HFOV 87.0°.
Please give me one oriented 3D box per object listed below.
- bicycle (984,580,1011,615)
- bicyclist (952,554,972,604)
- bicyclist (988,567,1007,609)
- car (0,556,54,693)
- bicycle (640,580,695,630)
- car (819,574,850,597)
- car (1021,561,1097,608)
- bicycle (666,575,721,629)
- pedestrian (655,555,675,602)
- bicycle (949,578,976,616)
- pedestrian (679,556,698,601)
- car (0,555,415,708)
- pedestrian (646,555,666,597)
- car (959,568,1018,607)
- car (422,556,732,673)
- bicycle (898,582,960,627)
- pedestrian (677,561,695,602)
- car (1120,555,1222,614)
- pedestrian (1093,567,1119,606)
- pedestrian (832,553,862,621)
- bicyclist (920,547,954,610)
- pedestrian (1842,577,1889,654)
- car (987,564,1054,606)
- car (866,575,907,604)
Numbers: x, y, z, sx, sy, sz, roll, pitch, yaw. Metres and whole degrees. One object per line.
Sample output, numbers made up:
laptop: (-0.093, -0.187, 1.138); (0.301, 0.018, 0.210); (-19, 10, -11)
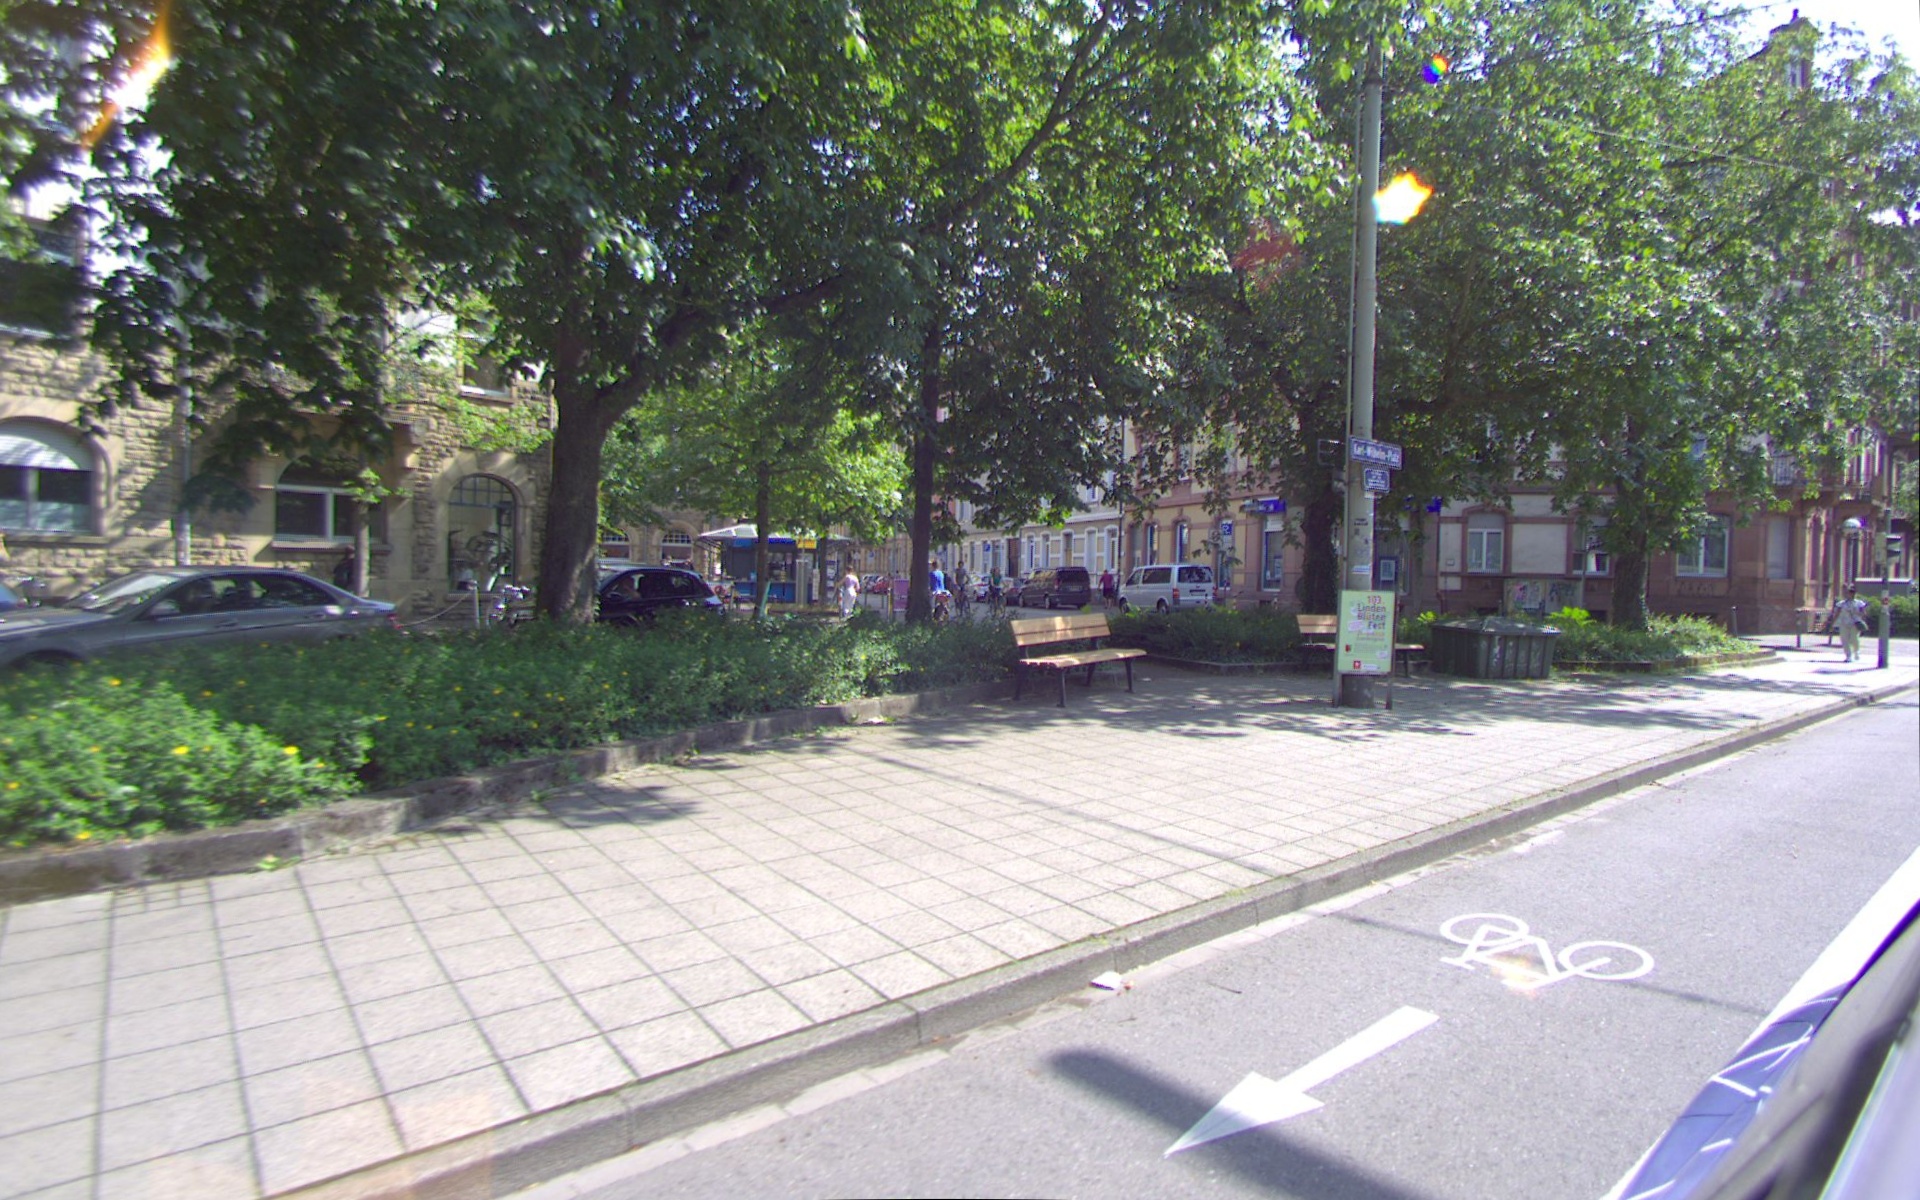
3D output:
bicycle: (1.250, -0.076, 33.707); (0.512, 1.129, 1.668); (-1, 0, -12)
bicyclist: (0.066, -0.684, 33.547); (0.496, 1.619, 0.702); (3, -1, -10)
bicyclist: (1.243, -0.403, 33.751); (0.460, 1.389, 0.744); (-1, 0, -10)
car: (-12.413, 0.287, 10.664); (1.712, 1.558, 3.951); (2, 2, 27)
bicycle: (-6.722, 0.092, 23.179); (0.587, 1.044, 1.978); (1, 2, -35)
car: (-11.961, -1.414, 96.243); (1.958, 2.038, 4.327); (1, 2, -19)
car: (4.519, -0.752, 46.730); (1.958, 2.038, 4.327); (1, 2, -17)
bicycle: (-6.215, 0.027, 23.527); (0.587, 1.157, 1.978); (1, 2, -35)
pedestrian: (-11.233, -0.818, 38.495); (0.668, 1.761, 0.848); (1, 1, -18)
bicycle: (0.083, -0.103, 33.569); (0.512, 1.209, 1.856); (-1, 0, -12)
pedestrian: (-10.615, -0.845, 39.527); (0.668, 1.761, 0.848); (1, 1, -18)
car: (-8.656, 0.231, 11.132); (1.820, 1.386, 4.442); (2, 2, 28)
pedestrian: (-13.007, -1.015, 43.315); (0.795, 1.761, 0.848); (1, 1, -18)
car: (1.530, -0.710, 55.716); (1.958, 2.038, 4.327); (1, 2, -17)
car: (-5.678, 0.147, 15.477); (1.837, 1.519, 4.132); (2, 2, 35)
bicycle: (-0.748, 0.093, 23.752); (0.515, 1.018, 1.682); (-1, 0, -41)
pedestrian: (-11.890, -0.803, 43.901); (0.668, 1.761, 0.848); (1, 1, -18)
car: (7.597, -0.622, 36.892); (1.799, 2.011, 4.327); (0, 2, -17)
pedestrian: (6.615, -0.600, 45.816); (0.909, 1.729, 0.763); (1, 1, -13)
pedestrian: (-2.897, -0.328, 25.834); (0.524, 1.721, 0.560); (0, 0, -41)
bicyclist: (-0.535, -0.496, 23.529); (0.474, 1.422, 0.633); (0, 0, -41)
pedestrian: (20.022, 0.331, 22.381); (0.524, 1.675, 0.706); (0, 0, -40)
car: (3.007, -0.794, 51.398); (1.958, 2.038, 4.327); (1, 2, -17)
car: (-5.718, -0.845, 78.485); (1.958, 2.038, 5.611); (1, 2, -17)
